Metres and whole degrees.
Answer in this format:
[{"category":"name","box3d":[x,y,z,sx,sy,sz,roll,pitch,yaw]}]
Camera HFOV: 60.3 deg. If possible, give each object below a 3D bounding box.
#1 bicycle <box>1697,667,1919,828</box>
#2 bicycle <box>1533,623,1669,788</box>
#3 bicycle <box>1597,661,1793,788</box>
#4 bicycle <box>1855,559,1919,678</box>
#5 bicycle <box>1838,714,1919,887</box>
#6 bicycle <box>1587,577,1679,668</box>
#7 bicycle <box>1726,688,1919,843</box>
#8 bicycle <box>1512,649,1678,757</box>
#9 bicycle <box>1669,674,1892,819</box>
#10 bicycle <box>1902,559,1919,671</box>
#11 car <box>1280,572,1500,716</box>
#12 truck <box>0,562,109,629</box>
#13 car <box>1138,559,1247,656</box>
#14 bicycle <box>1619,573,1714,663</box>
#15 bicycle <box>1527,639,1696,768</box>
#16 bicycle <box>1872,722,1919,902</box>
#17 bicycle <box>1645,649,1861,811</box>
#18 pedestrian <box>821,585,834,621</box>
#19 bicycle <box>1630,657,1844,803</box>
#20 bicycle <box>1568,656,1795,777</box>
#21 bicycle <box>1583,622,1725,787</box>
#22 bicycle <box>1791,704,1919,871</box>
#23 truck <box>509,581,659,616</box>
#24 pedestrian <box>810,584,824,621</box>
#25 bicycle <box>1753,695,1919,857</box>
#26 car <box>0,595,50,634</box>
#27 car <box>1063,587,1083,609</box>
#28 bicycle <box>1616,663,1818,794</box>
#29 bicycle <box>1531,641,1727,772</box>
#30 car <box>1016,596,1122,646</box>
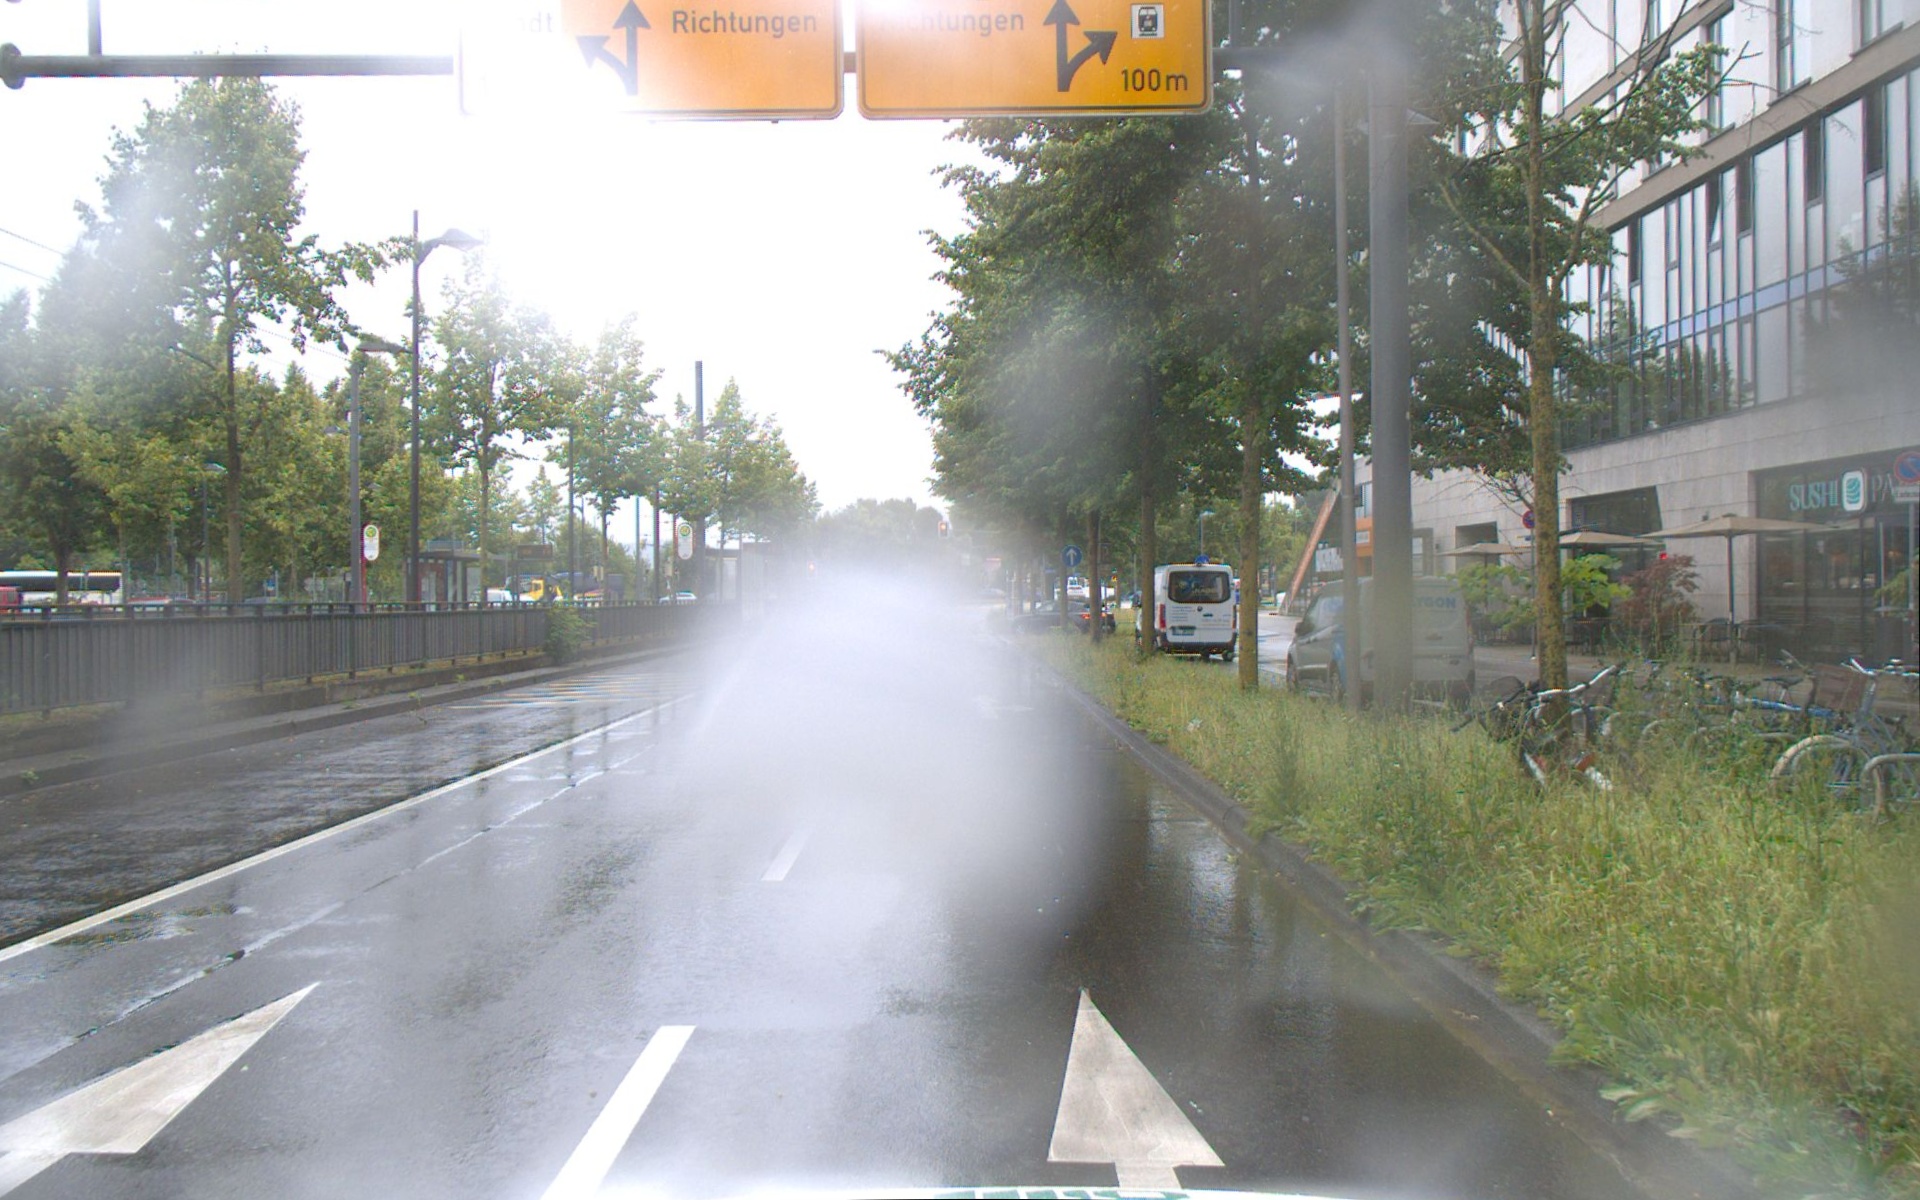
[{"category":"bicycle","box3d":[5.163,0.886,10.028,1.262,0.935,0.275,-1,0,-1]},{"category":"bicycle","box3d":[3.661,0.572,9.508,0.269,0.864,1.292,-1,0,0]},{"category":"bicycle","box3d":[5.203,0.879,11.728,1.262,0.864,0.275,-1,0,-1]},{"category":"bicycle","box3d":[14.658,0.282,24.885,0.631,1.752,3.120,0,2,-1]},{"category":"bicycle","box3d":[5.293,1.033,8.646,1.262,0.864,0.275,-1,0,-1]},{"category":"bicycle","box3d":[14.147,0.439,34.881,0.631,1.752,3.120,0,2,-1]},{"category":"bicycle","box3d":[5.187,0.961,9.696,1.262,0.864,0.275,-1,0,-1]},{"category":"bicycle","box3d":[5.288,0.852,13.790,1.262,0.864,0.311,-1,0,-1]},{"category":"bicycle","box3d":[5.141,0.914,10.377,1.262,0.864,0.275,-1,0,-1]},{"category":"bicycle","box3d":[15.426,0.279,24.809,0.756,1.752,3.120,0,2,-1]},{"category":"car","box3d":[5.946,0.553,23.489,1.867,1.822,4.687,0,0,-1]},{"category":"truck","box3d":[-68.556,-0.321,119.632,12.306,4.672,3.373,-2,2,-28]},{"category":"car","box3d":[5.851,0.168,42.112,2.078,2.314,4.564,0,0,-1]},{"category":"bicycle","box3d":[14.880,0.337,34.950,0.631,1.752,3.120,0,2,-1]},{"category":"bicycle","box3d":[5.294,0.838,13.448,1.262,1.013,0.275,-1,0,-1]},{"category":"bicycle","box3d":[5.397,1.046,8.304,1.491,0.864,0.277,-1,0,-1]},{"category":"bicycle","box3d":[5.112,0.829,10.682,1.262,1.006,0.275,-1,0,-1]},{"category":"pedestrian","box3d":[-7.570,0.157,94.252,0.683,2.048,0.656,0,2,-1]},{"category":"bicycle","box3d":[5.160,0.858,11.002,1.298,0.926,0.275,-1,0,-1]},{"category":"bicycle","box3d":[5.388,0.867,12.374,1.562,0.864,0.311,-1,0,-1]},{"category":"bicycle","box3d":[3.980,0.571,9.552,0.269,0.864,1.292,-1,0,0]},{"category":"bicycle","box3d":[5.216,1.009,8.984,1.262,0.864,0.275,-1,0,-1]},{"category":"truck","box3d":[-35.506,-0.121,156.976,3.458,3.202,14.827,0,0,40]},{"category":"pedestrian","box3d":[-8.047,0.119,92.933,0.683,2.048,0.656,0,2,4]},{"category":"bicycle","box3d":[5.199,0.984,9.347,1.262,0.864,0.354,-1,0,-1]},{"category":"car","box3d":[-51.416,0.782,89.162,1.951,2.049,4.003,0,0,15]},{"category":"car","box3d":[9.572,-0.165,140.324,1.589,1.729,3.458,0,2,3]},{"category":"bicycle","box3d":[5.198,0.876,11.376,1.262,0.864,0.275,-1,0,-1]},{"category":"bicycle","box3d":[5.303,0.838,13.128,1.430,0.997,0.311,-1,0,-1]},{"category":"car","box3d":[3.855,0.720,59.057,1.798,1.572,3.956,-2,3,-32]}]
